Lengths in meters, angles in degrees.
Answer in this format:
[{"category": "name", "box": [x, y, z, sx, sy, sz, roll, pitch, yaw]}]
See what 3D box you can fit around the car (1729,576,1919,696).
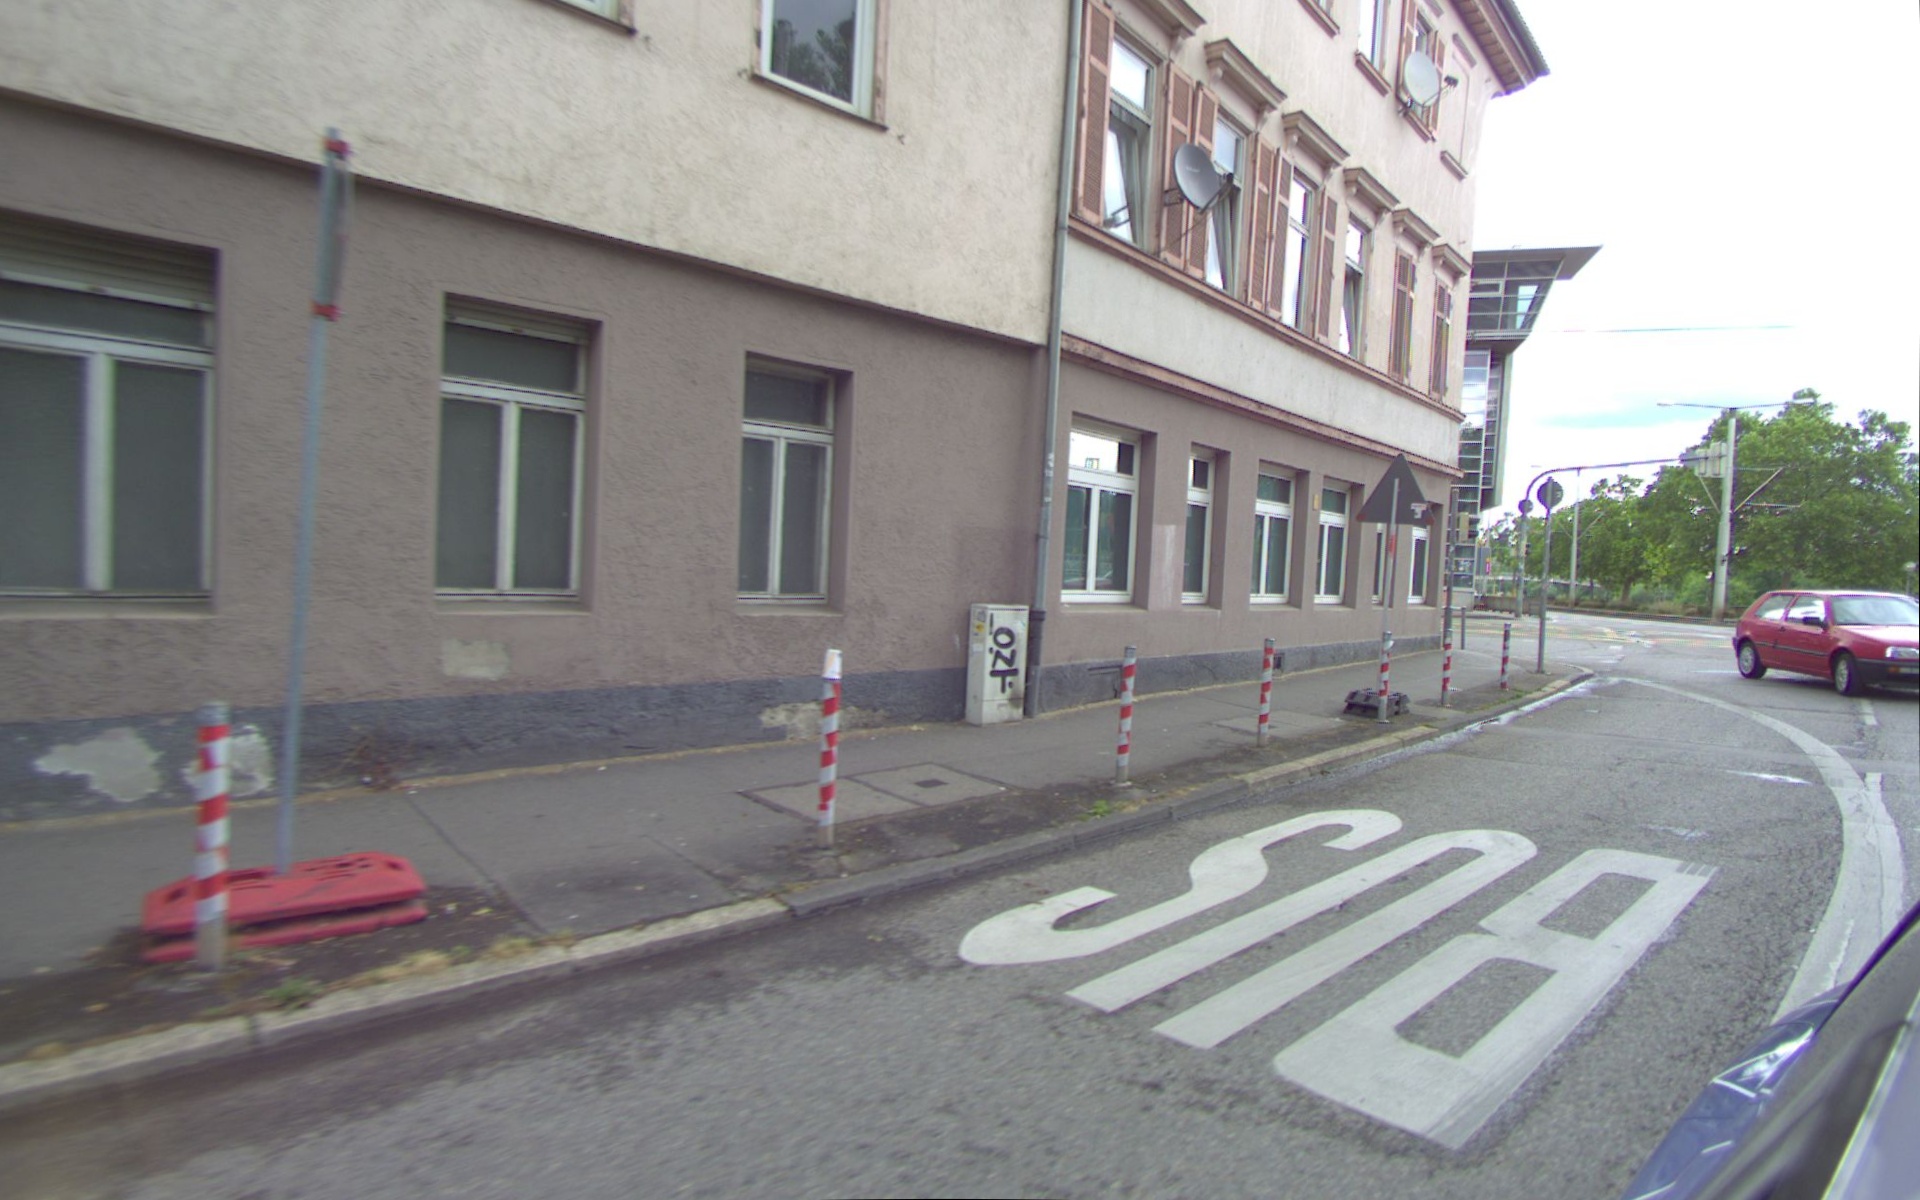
[{"category": "car", "box": [13.213, 0.419, 14.595, 1.824, 1.440, 4.157, 1, 2, 14]}]
